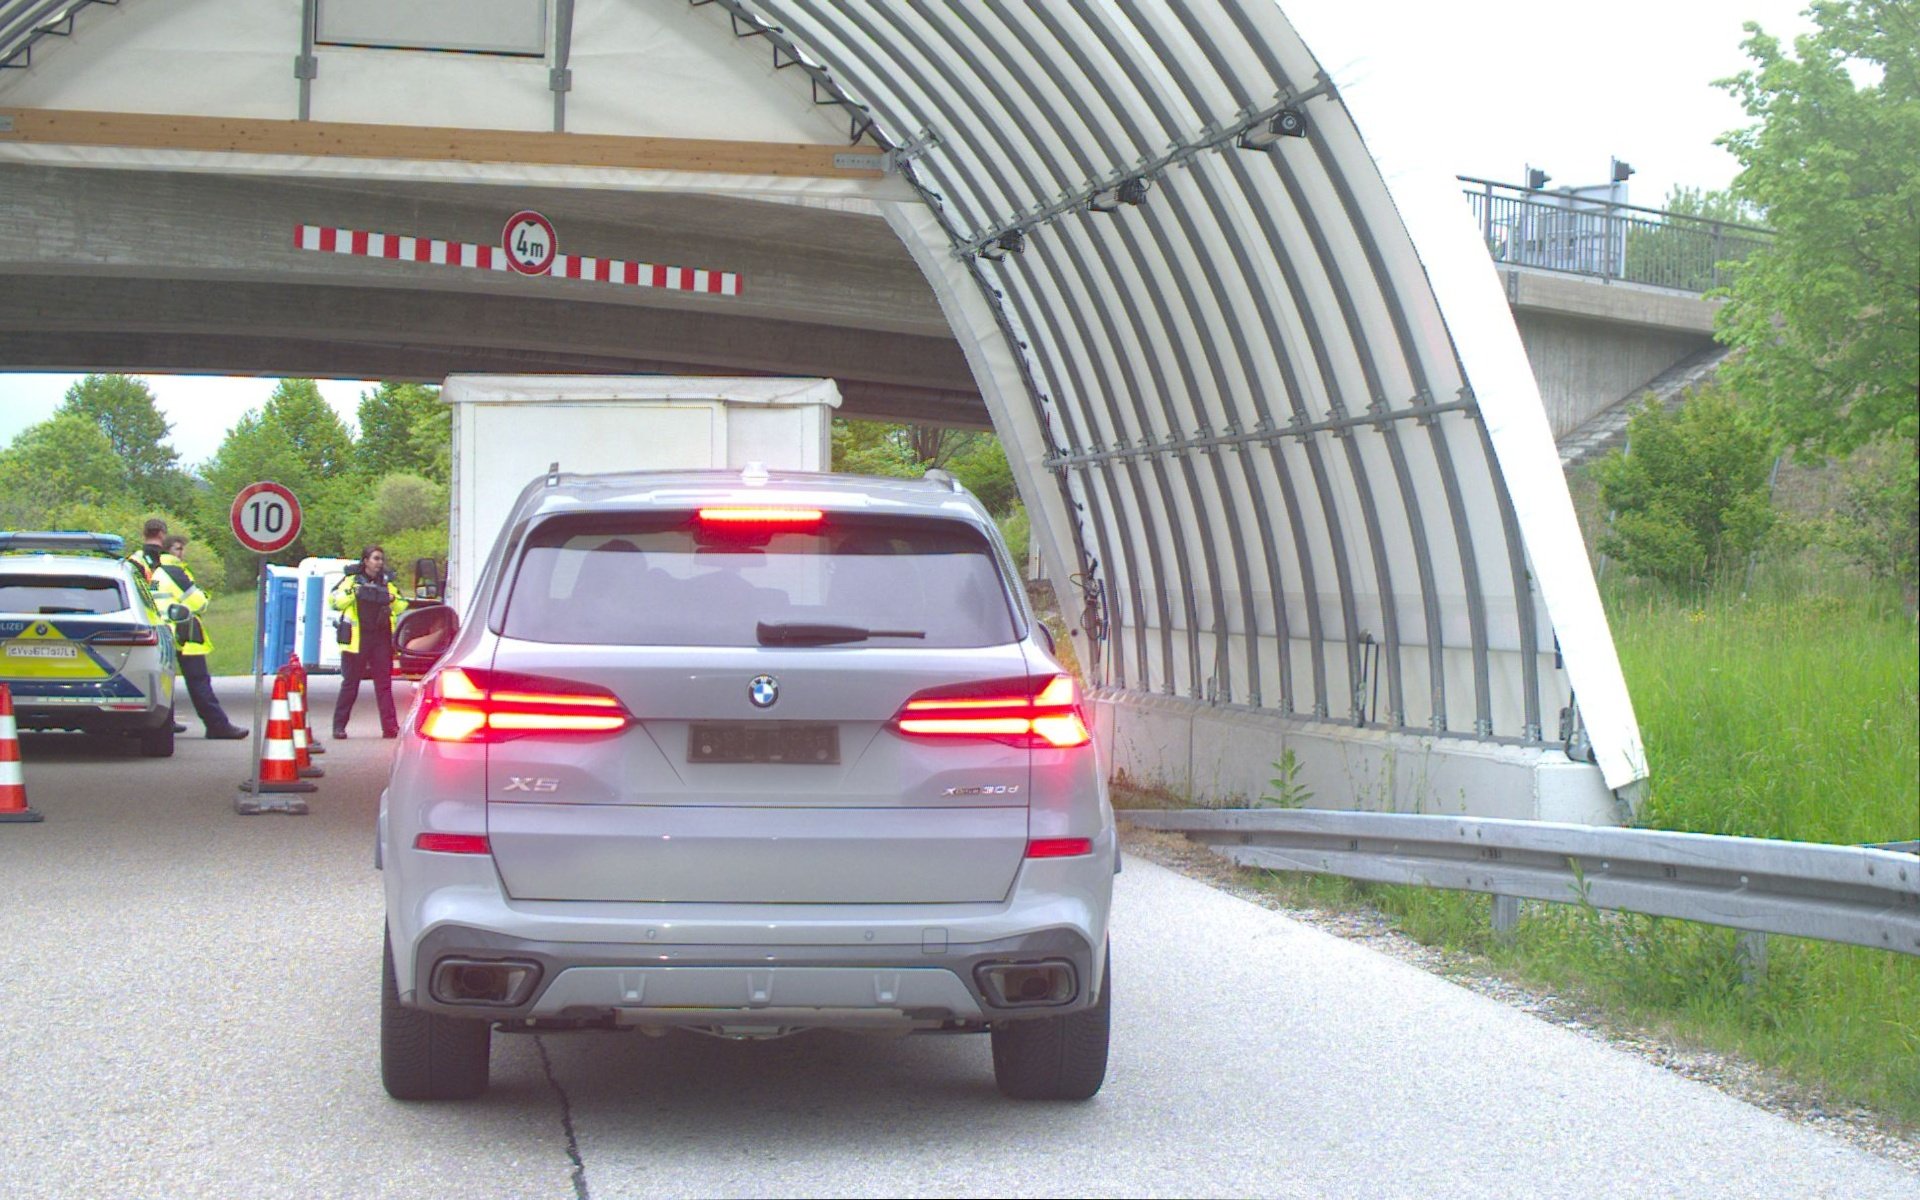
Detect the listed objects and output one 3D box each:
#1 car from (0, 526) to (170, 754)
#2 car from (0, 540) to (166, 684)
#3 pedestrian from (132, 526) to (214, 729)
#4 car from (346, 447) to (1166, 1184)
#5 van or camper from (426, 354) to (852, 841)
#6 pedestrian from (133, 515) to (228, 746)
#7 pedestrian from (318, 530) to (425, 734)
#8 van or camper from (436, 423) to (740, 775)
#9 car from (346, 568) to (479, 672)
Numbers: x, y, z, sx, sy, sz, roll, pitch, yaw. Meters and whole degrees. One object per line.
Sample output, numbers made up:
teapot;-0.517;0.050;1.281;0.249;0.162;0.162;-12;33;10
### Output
car;-7.168;0.276;26.748;1.877;1.641;4.001;0;0;-15
car;-13.945;0.155;48.928;4.807;2.007;1.840;0;0;7
pedestrian;-6.856;0.231;29.967;0.609;1.748;0.666;0;0;-6
car;-0.797;0.497;10.339;1.993;1.759;4.001;0;0;-9
van or camper;-2.183;-0.040;21.402;2.229;2.543;6.612;0;0;-9
pedestrian;-6.565;0.245;28.933;0.749;1.912;0.763;0;0;-15
pedestrian;-5.037;0.266;29.403;0.779;1.716;0.757;0;0;-20
van or camper;-3.090;-0.029;27.478;2.103;2.510;5.552;0;0;-9
car;-9.459;0.318;59.181;1.993;1.716;3.897;0;0;-13
